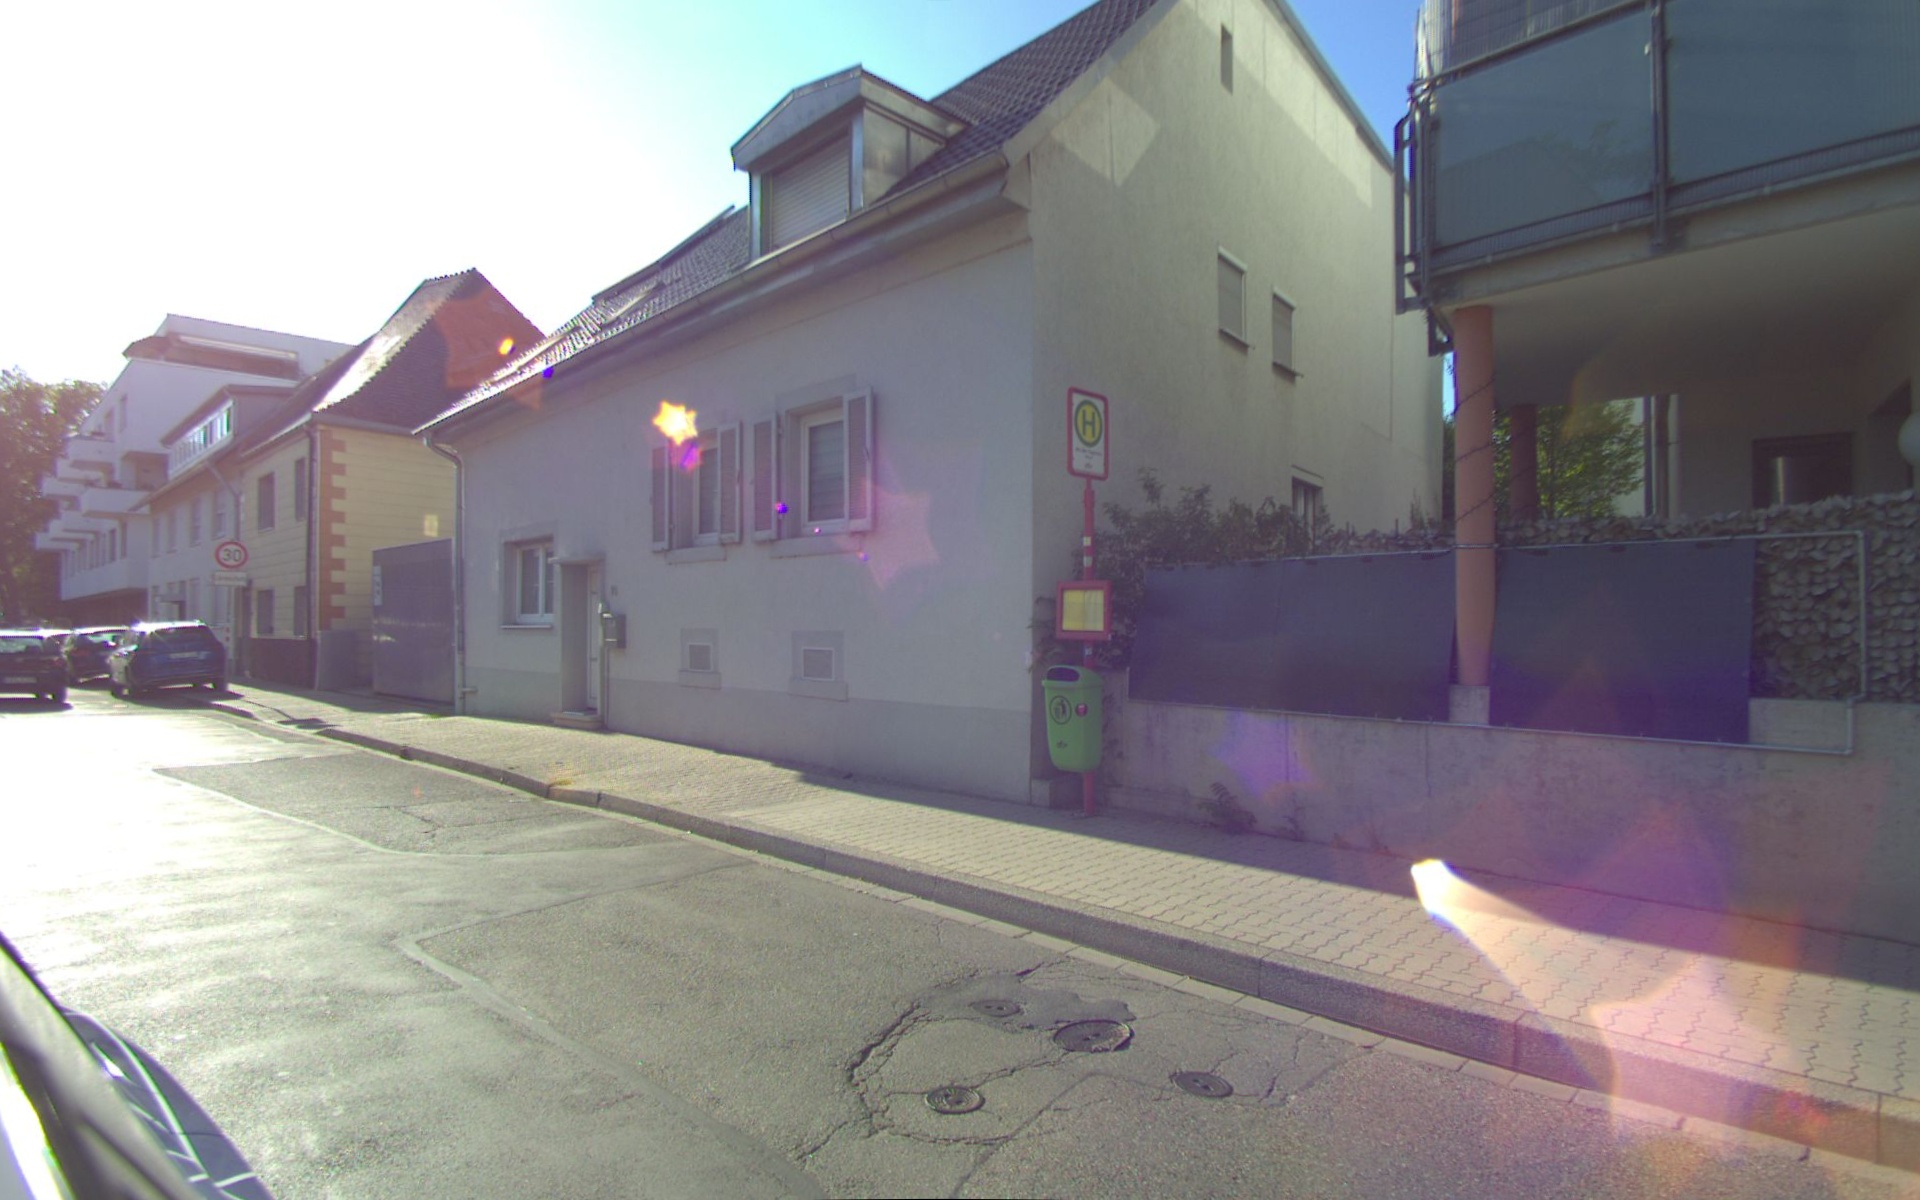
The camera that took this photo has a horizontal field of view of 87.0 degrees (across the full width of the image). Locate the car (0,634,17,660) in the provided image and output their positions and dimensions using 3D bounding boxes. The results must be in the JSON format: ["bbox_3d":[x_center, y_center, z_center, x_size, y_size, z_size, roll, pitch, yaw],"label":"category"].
[{"bbox_3d":[-56.944,2.766,59.621,3.769,1.444,1.657,-1,0,41],"label":"car"}]

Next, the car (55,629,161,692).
[{"bbox_3d":[-24.644,1.706,29.223,4.336,1.599,1.837,-3,-1,43],"label":"car"}]

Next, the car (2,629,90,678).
[{"bbox_3d":[-32.372,1.842,35.805,4.330,1.547,1.668,-1,0,39],"label":"car"}]

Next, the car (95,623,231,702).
[{"bbox_3d":[-18.339,1.420,23.230,4.192,1.599,1.789,-4,-1,43],"label":"car"}]

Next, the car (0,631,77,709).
[{"bbox_3d":[-20.035,1.401,21.093,4.142,1.502,1.823,-1,-3,41],"label":"car"}]

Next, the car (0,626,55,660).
[{"bbox_3d":[-48.241,2.158,52.025,4.617,1.599,1.839,-1,0,40],"label":"car"}]

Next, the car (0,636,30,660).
[{"bbox_3d":[-70.308,3.528,73.434,1.684,1.675,3.942,-1,-1,14],"label":"car"}]

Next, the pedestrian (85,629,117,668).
[{"bbox_3d":[-43.326,2.432,51.064,0.849,1.832,1.136,-3,1,-24],"label":"pedestrian"}]
